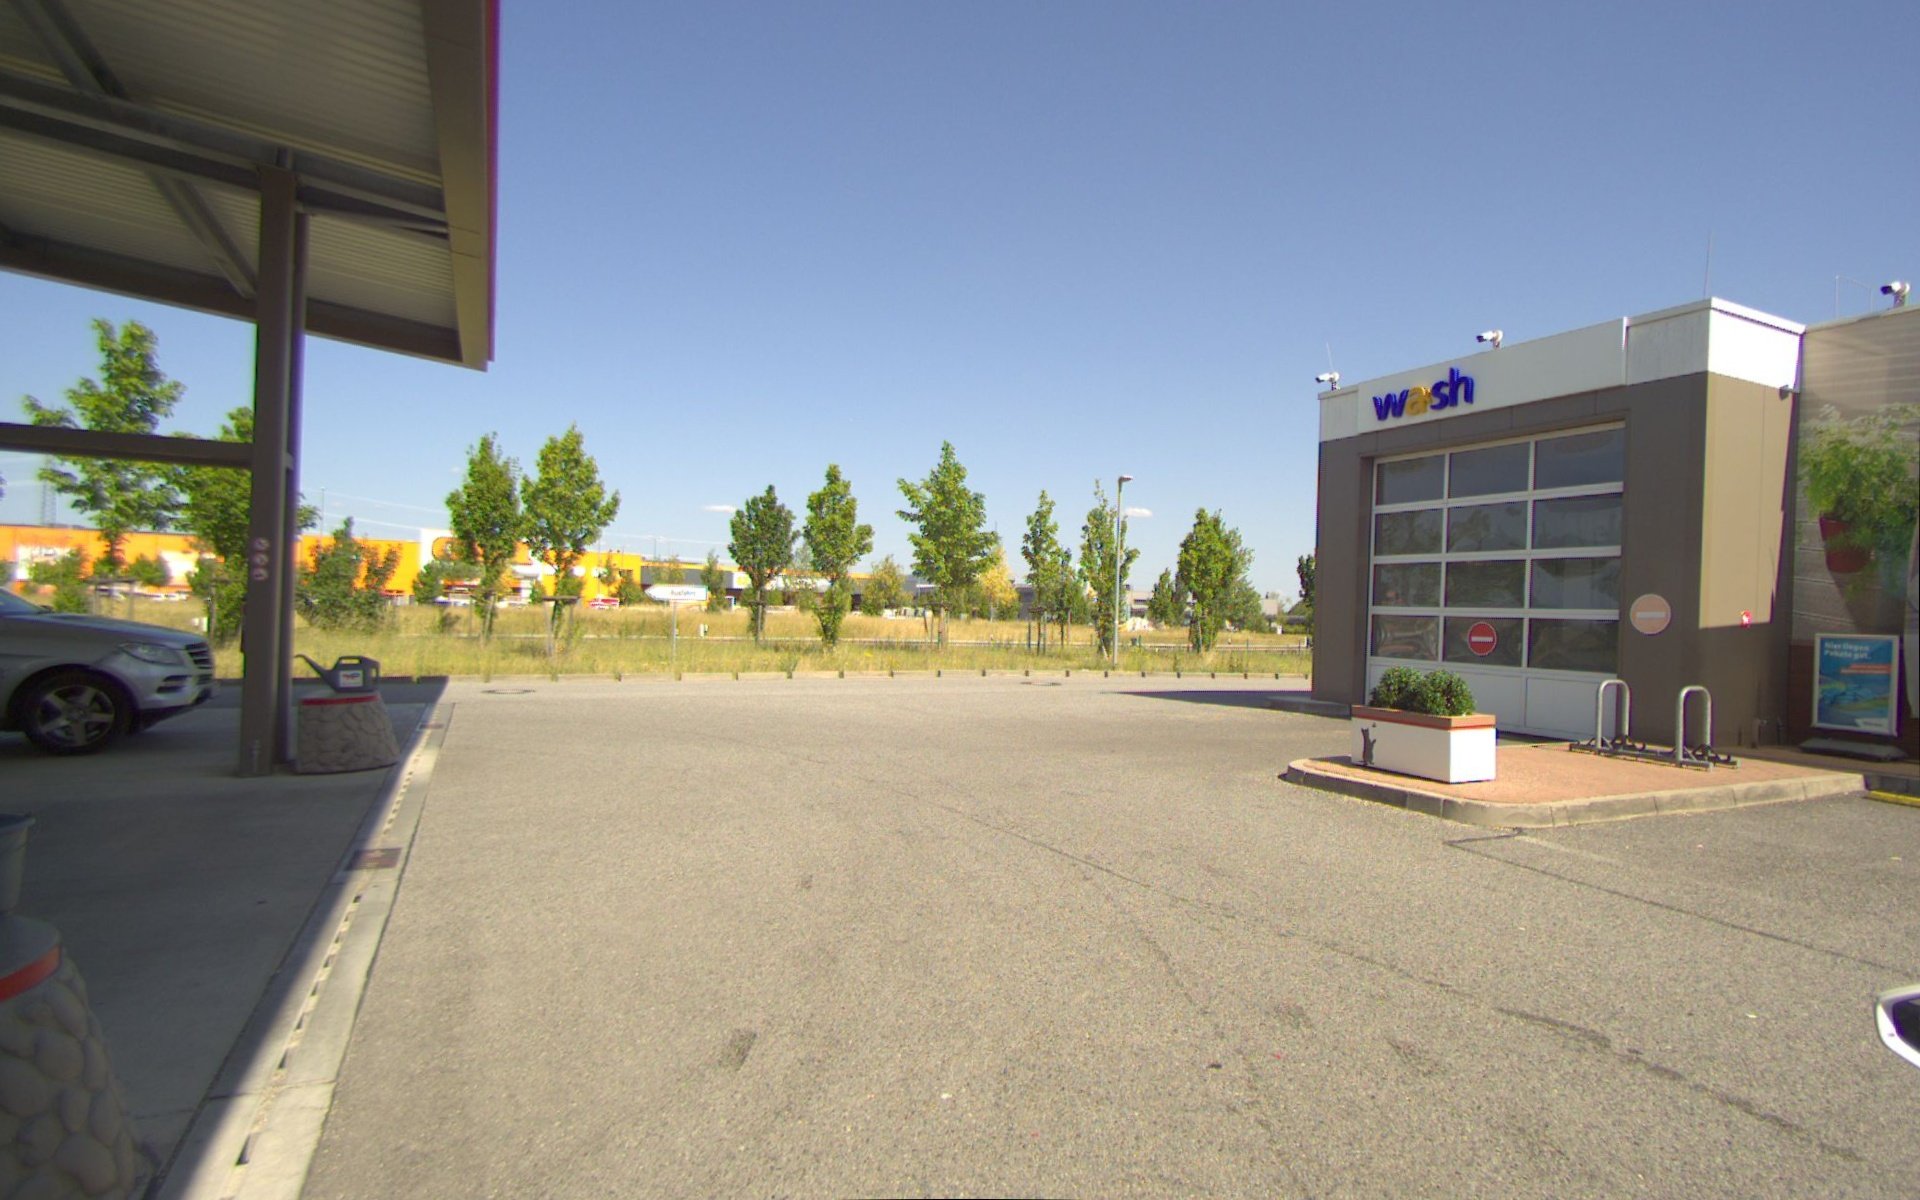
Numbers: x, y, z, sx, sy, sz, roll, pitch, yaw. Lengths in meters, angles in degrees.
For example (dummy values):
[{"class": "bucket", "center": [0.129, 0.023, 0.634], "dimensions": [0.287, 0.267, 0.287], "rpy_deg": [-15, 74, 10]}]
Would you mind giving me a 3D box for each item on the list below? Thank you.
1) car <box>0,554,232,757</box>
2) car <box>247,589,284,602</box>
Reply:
[{"class": "car", "center": [-9.309, 0.449, 8.833], "dimensions": [4.482, 1.710, 1.851], "rpy_deg": [1, 0, -30]}, {"class": "car", "center": [-73.049, -0.455, 105.657], "dimensions": [2.905, 1.316, 1.477], "rpy_deg": [2, -1, -24]}]
